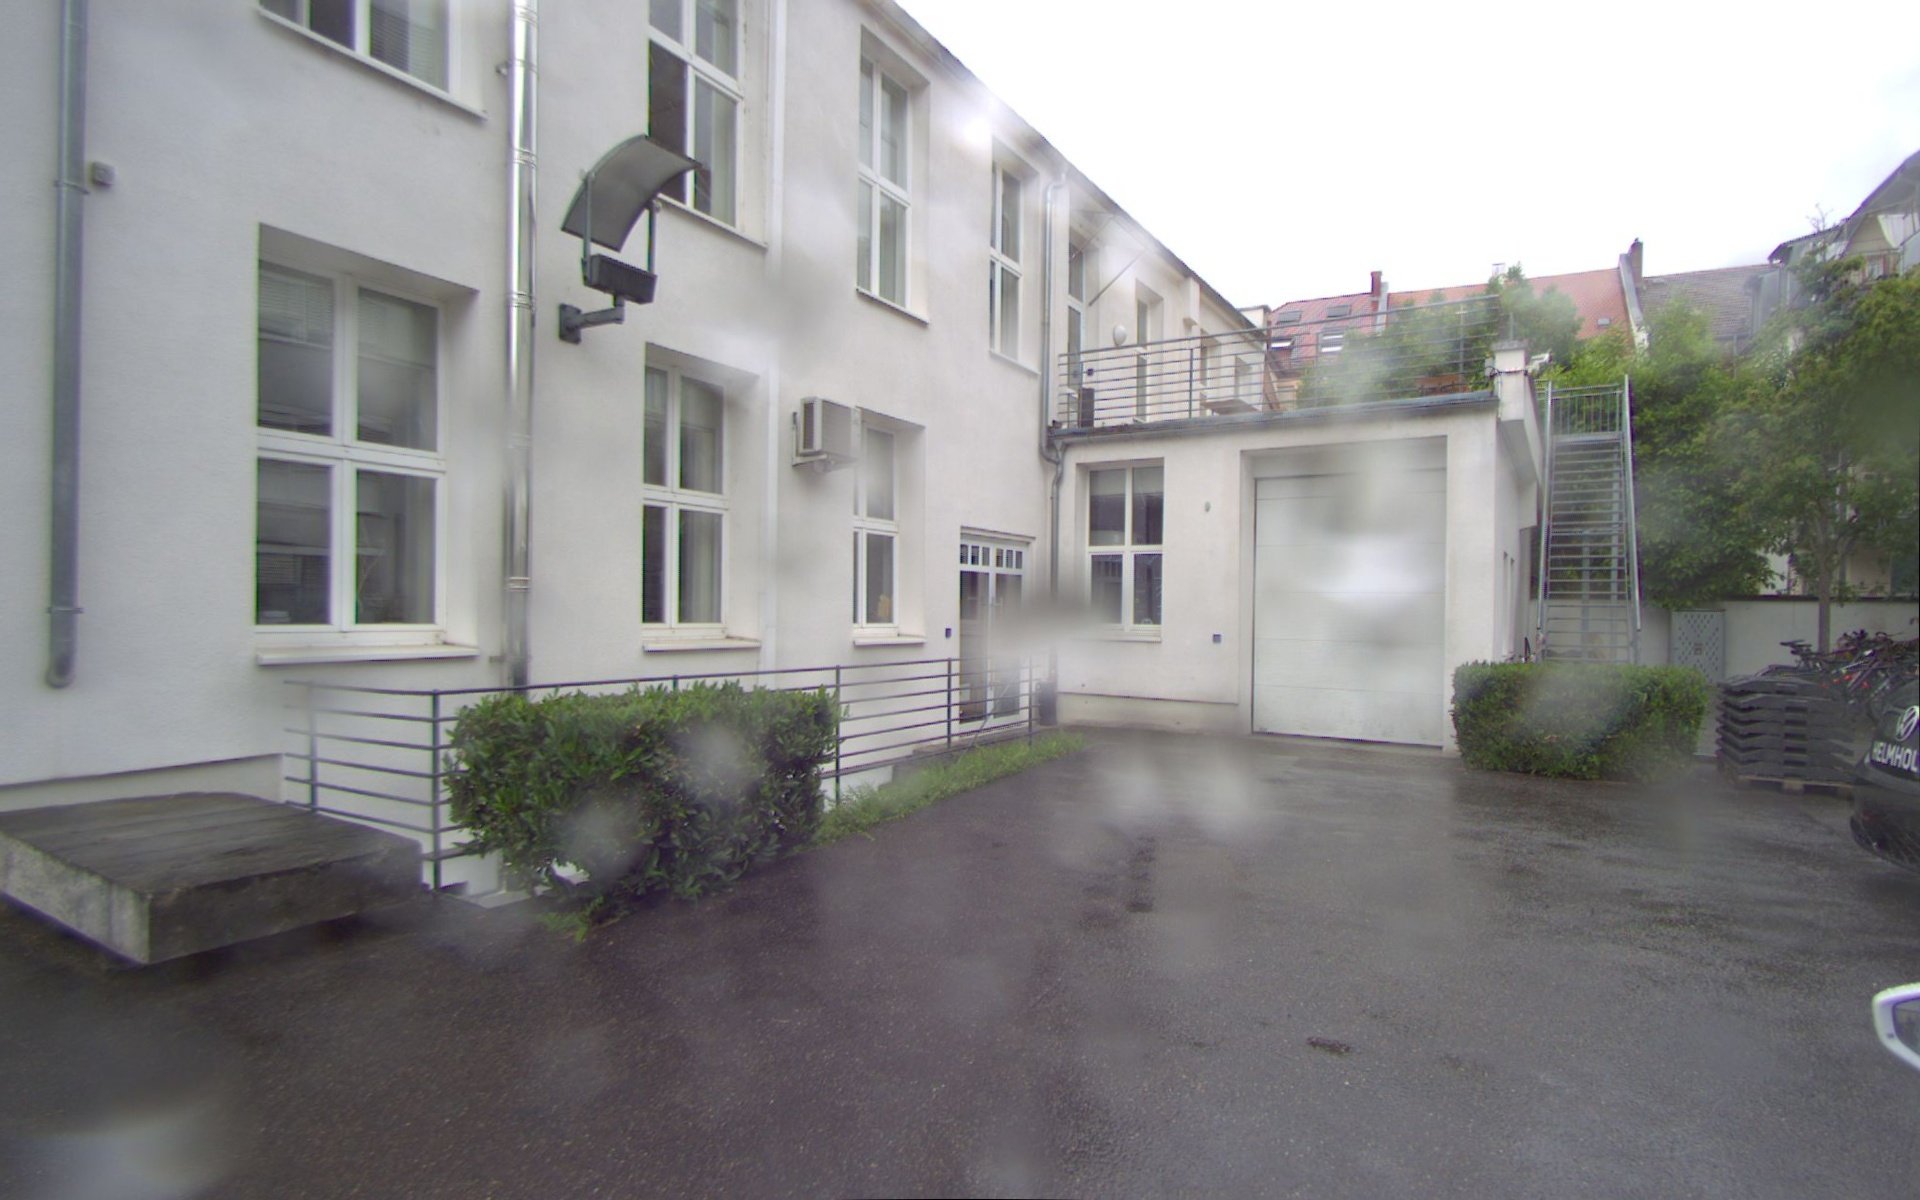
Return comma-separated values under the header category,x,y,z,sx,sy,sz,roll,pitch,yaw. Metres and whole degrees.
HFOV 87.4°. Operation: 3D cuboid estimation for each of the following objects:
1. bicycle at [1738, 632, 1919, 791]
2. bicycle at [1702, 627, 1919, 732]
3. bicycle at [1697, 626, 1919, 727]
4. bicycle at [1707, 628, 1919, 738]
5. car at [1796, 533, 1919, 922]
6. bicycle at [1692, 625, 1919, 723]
category,x,y,z,sx,sy,sz,roll,pitch,yaw
bicycle,10.804,1.245,11.308,3.166,1.725,0.630,0,-1,29
bicycle,11.452,0.994,12.785,3.166,1.258,0.630,0,-1,29
bicycle,11.801,0.996,13.359,3.166,1.258,0.630,0,-1,29
bicycle,11.082,0.992,12.193,3.166,1.258,0.630,0,-1,29
car,7.030,0.650,4.657,4.436,1.922,2.045,0,-1,24
bicycle,12.135,0.998,13.918,3.166,1.258,0.630,0,-1,29
